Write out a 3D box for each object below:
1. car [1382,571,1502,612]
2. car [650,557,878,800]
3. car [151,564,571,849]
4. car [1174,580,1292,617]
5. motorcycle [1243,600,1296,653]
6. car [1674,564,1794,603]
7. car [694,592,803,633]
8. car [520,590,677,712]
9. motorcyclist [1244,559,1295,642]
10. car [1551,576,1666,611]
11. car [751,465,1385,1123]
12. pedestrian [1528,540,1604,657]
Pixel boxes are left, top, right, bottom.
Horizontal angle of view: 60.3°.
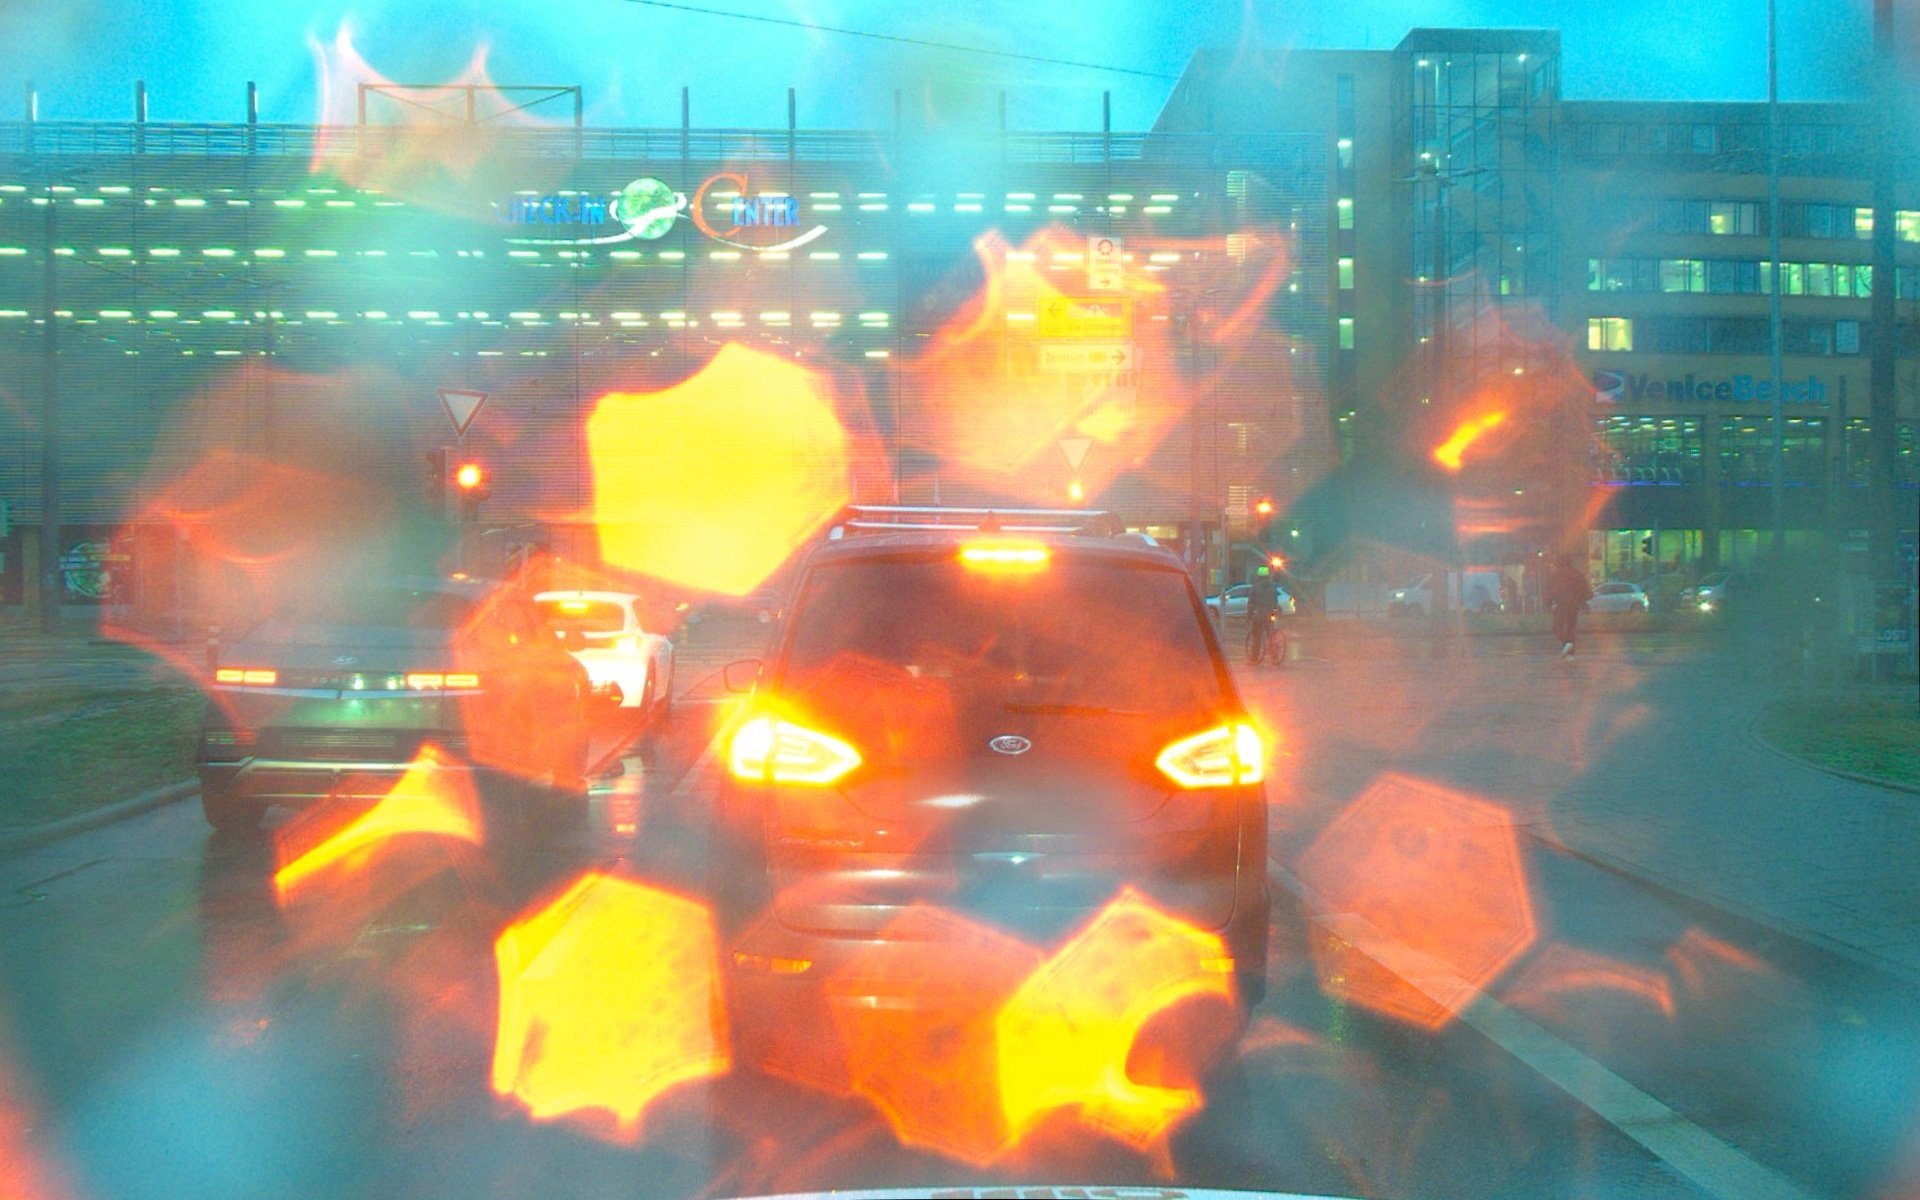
[{"bbox_3d":[19.572,-0.339,67.238,4.336,1.623,1.797,-1,0,-8],"label":"car"},{"bbox_3d":[-1.560,0.568,13.678,1.604,1.726,3.667,1,0,-5],"label":"car"},{"bbox_3d":[-3.872,0.594,11.411,1.718,1.601,3.996,0,0,-5],"label":"car"},{"bbox_3d":[10.974,-0.058,66.571,4.336,1.414,1.797,-1,0,-8],"label":"car"},{"bbox_3d":[5.930,0.499,31.739,0.835,0.989,1.582,0,0,5],"label":"motorcycle"},{"bbox_3d":[32.740,-0.699,69.984,4.348,1.561,1.797,-1,0,-8],"label":"car"},{"bbox_3d":[-8.632,0.509,67.642,4.336,1.623,1.797,-1,0,-8],"label":"car"},{"bbox_3d":[-4.151,0.526,19.447,1.512,1.273,4.060,0,0,-8],"label":"car"},{"bbox_3d":[5.932,0.009,31.754,0.850,1.561,1.109,0,0,5],"label":"motorcyclist"},{"bbox_3d":[26.945,-0.289,68.779,4.136,1.414,1.797,-1,0,-8],"label":"car"},{"bbox_3d":[0.200,0.525,6.678,1.700,1.768,4.244,2,0,-3],"label":"car"},{"bbox_3d":[10.523,-0.040,28.704,1.146,1.957,0.898,2,0,22],"label":"pedestrian"}]
